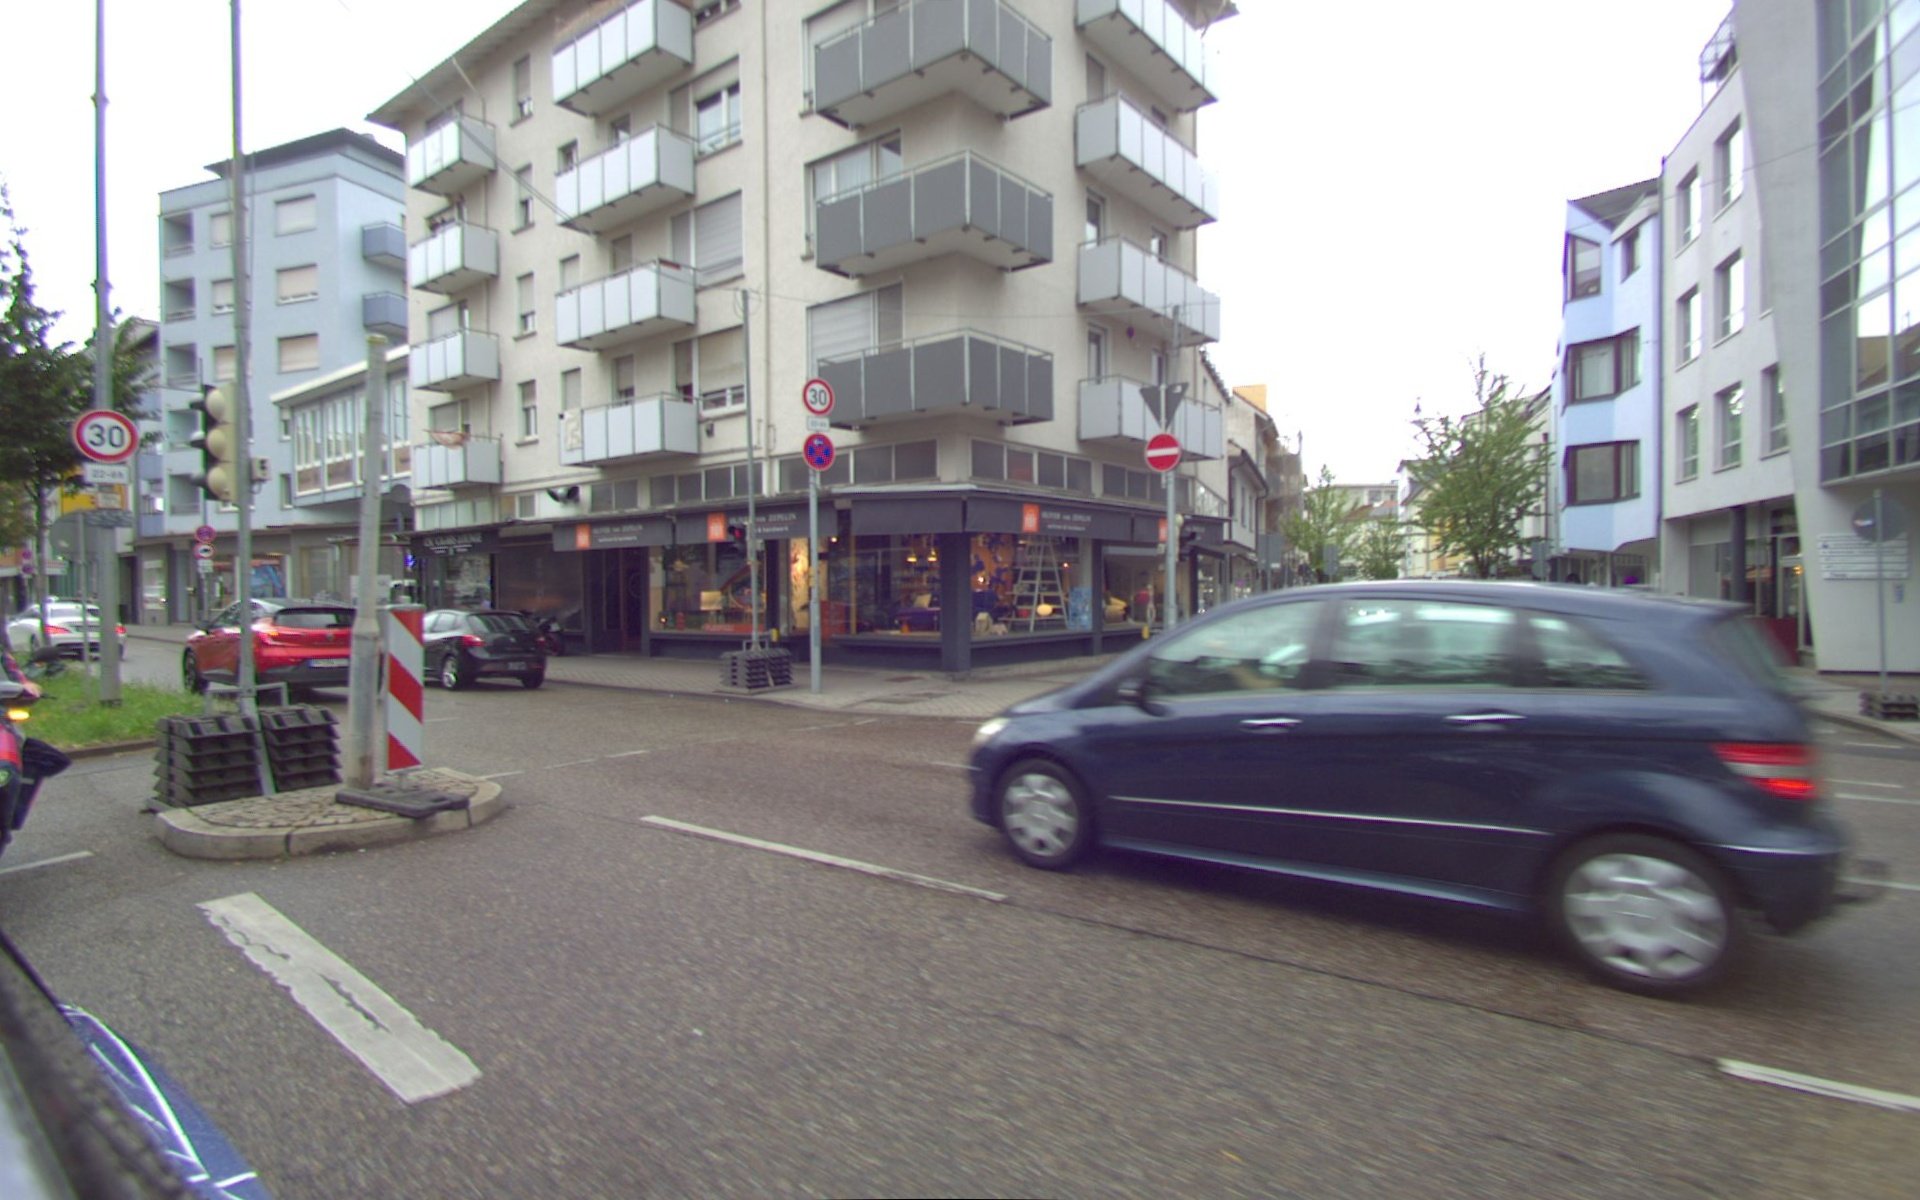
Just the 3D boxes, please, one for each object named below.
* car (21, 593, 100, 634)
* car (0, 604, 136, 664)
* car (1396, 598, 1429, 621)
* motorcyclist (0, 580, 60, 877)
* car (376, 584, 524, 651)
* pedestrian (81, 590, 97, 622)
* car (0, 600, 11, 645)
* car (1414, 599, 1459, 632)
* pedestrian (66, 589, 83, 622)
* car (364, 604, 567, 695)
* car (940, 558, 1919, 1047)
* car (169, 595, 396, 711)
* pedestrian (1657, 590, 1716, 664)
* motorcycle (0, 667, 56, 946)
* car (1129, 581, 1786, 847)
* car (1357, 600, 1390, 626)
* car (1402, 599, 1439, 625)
[{"bbox_3d":[-37.285,0.574,41.928,4.021,1.601,1.755,-1,-2,39],"label":"car"},{"bbox_3d":[-23.309,0.863,26.213,4.604,1.428,1.829,0,-3,35],"label":"car"},{"bbox_3d":[32.312,0.653,72.353,1.986,1.588,3.971,0,1,22],"label":"car"},{"bbox_3d":[-5.361,0.657,5.216,0.863,1.504,0.906,1,2,36],"label":"motorcyclist"},{"bbox_3d":[-16.734,0.525,33.344,1.893,2.070,3.947,0,0,40],"label":"car"},{"bbox_3d":[-45.974,0.311,53.419,0.531,1.700,0.506,2,0,39],"label":"pedestrian"},{"bbox_3d":[-33.549,0.733,34.040,4.152,1.452,1.799,-1,-2,39],"label":"car"},{"bbox_3d":[26.010,0.820,55.365,1.987,1.659,3.970,0,1,22],"label":"car"},{"bbox_3d":[-46.330,0.310,52.948,0.531,1.700,0.520,2,0,39],"label":"pedestrian"},{"bbox_3d":[-9.242,0.882,18.812,3.996,1.508,1.828,0,-3,39],"label":"car"},{"bbox_3d":[2.104,0.658,5.174,4.279,1.555,1.812,0,-1,39],"label":"car"},{"bbox_3d":[-10.734,0.745,15.942,4.086,1.606,1.829,0,-1,39],"label":"car"},{"bbox_3d":[16.957,0.631,23.643,0.890,1.665,0.559,-4,-2,20],"label":"pedestrian"},{"bbox_3d":[-5.269,0.962,5.156,2.099,1.200,0.582,1,2,37],"label":"motorcycle"},{"bbox_3d":[3.632,0.670,7.878,4.278,1.535,1.755,0,-1,39],"label":"car"},{"bbox_3d":[28.026,0.835,68.673,1.986,1.659,3.971,0,1,22],"label":"car"},{"bbox_3d":[30.165,0.745,66.394,1.986,1.588,3.971,0,1,22],"label":"car"}]
